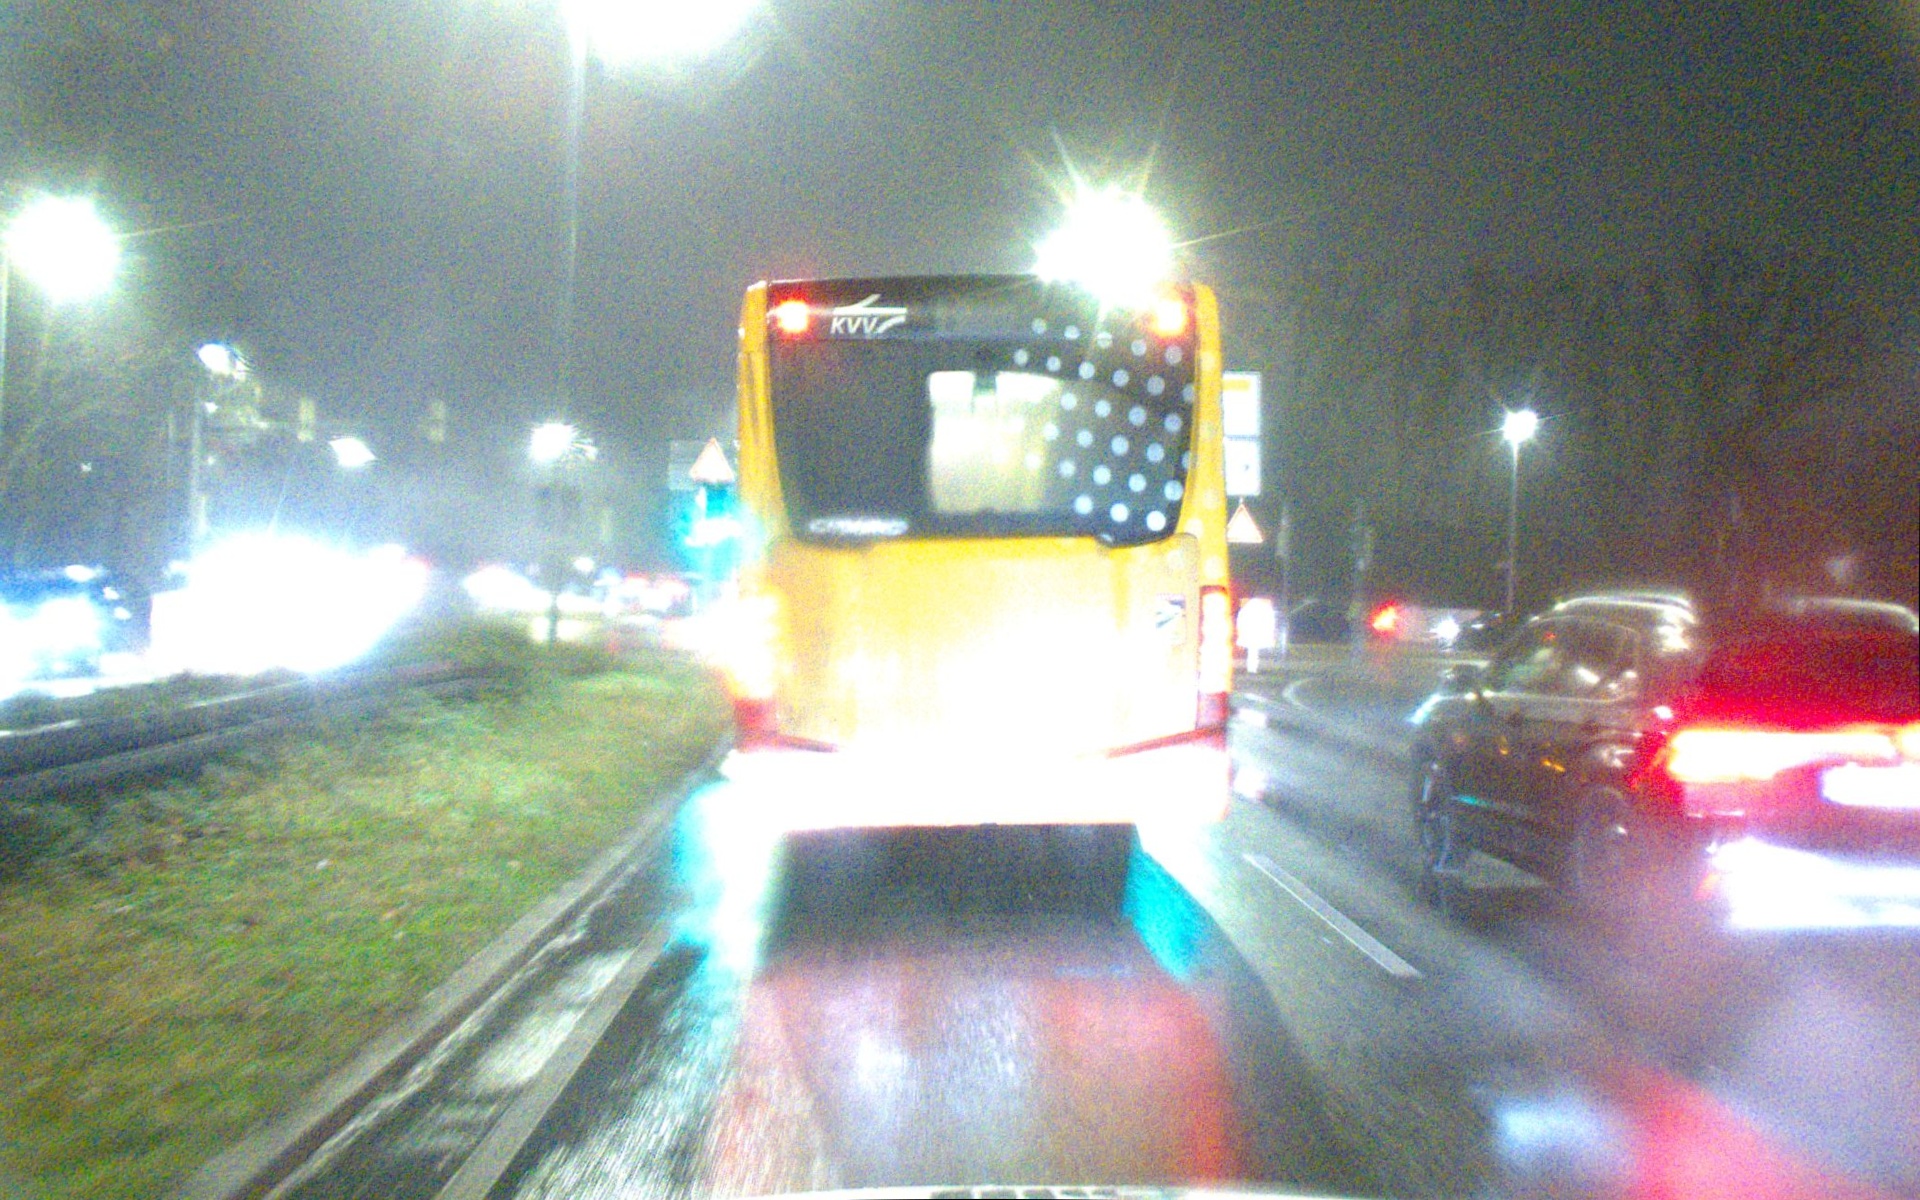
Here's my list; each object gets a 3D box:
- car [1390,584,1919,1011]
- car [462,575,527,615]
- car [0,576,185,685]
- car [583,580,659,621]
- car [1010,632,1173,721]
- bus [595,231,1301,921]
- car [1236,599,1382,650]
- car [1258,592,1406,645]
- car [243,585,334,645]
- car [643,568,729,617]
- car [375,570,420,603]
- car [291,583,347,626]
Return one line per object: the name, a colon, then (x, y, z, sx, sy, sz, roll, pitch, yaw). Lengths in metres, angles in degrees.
car: (3.489, 0.763, 8.080, 1.643, 1.548, 3.959, 2, -1, -1)
car: (-22.099, -0.240, 78.485, 2.067, 1.672, 3.693, 5, -2, -29)
car: (-14.370, 0.467, 27.008, 1.741, 1.621, 4.553, 0, 0, -7)
car: (-14.653, 0.017, 71.436, 1.800, 1.646, 3.952, 2, -1, -35)
car: (2.146, 1.252, 28.064, 1.657, 1.354, 3.947, 1, -1, -13)
bus: (-0.351, -0.188, 12.326, 3.220, 3.103, 9.537, 0, 1, -4)
car: (10.612, 0.741, 50.402, 3.965, 1.369, 1.745, 2, 1, -7)
car: (12.289, 0.598, 54.824, 4.397, 1.545, 1.855, 2, 1, -7)
car: (-18.416, 0.402, 45.487, 1.705, 1.522, 3.927, -1, 0, -13)
car: (-9.864, -0.262, 59.310, 1.796, 1.646, 3.960, 2, -1, -30)
car: (-31.494, -0.761, 92.602, 1.968, 1.751, 3.969, 2, -1, -25)
car: (-23.797, 0.141, 61.481, 1.763, 1.482, 4.551, -1, 1, -20)
